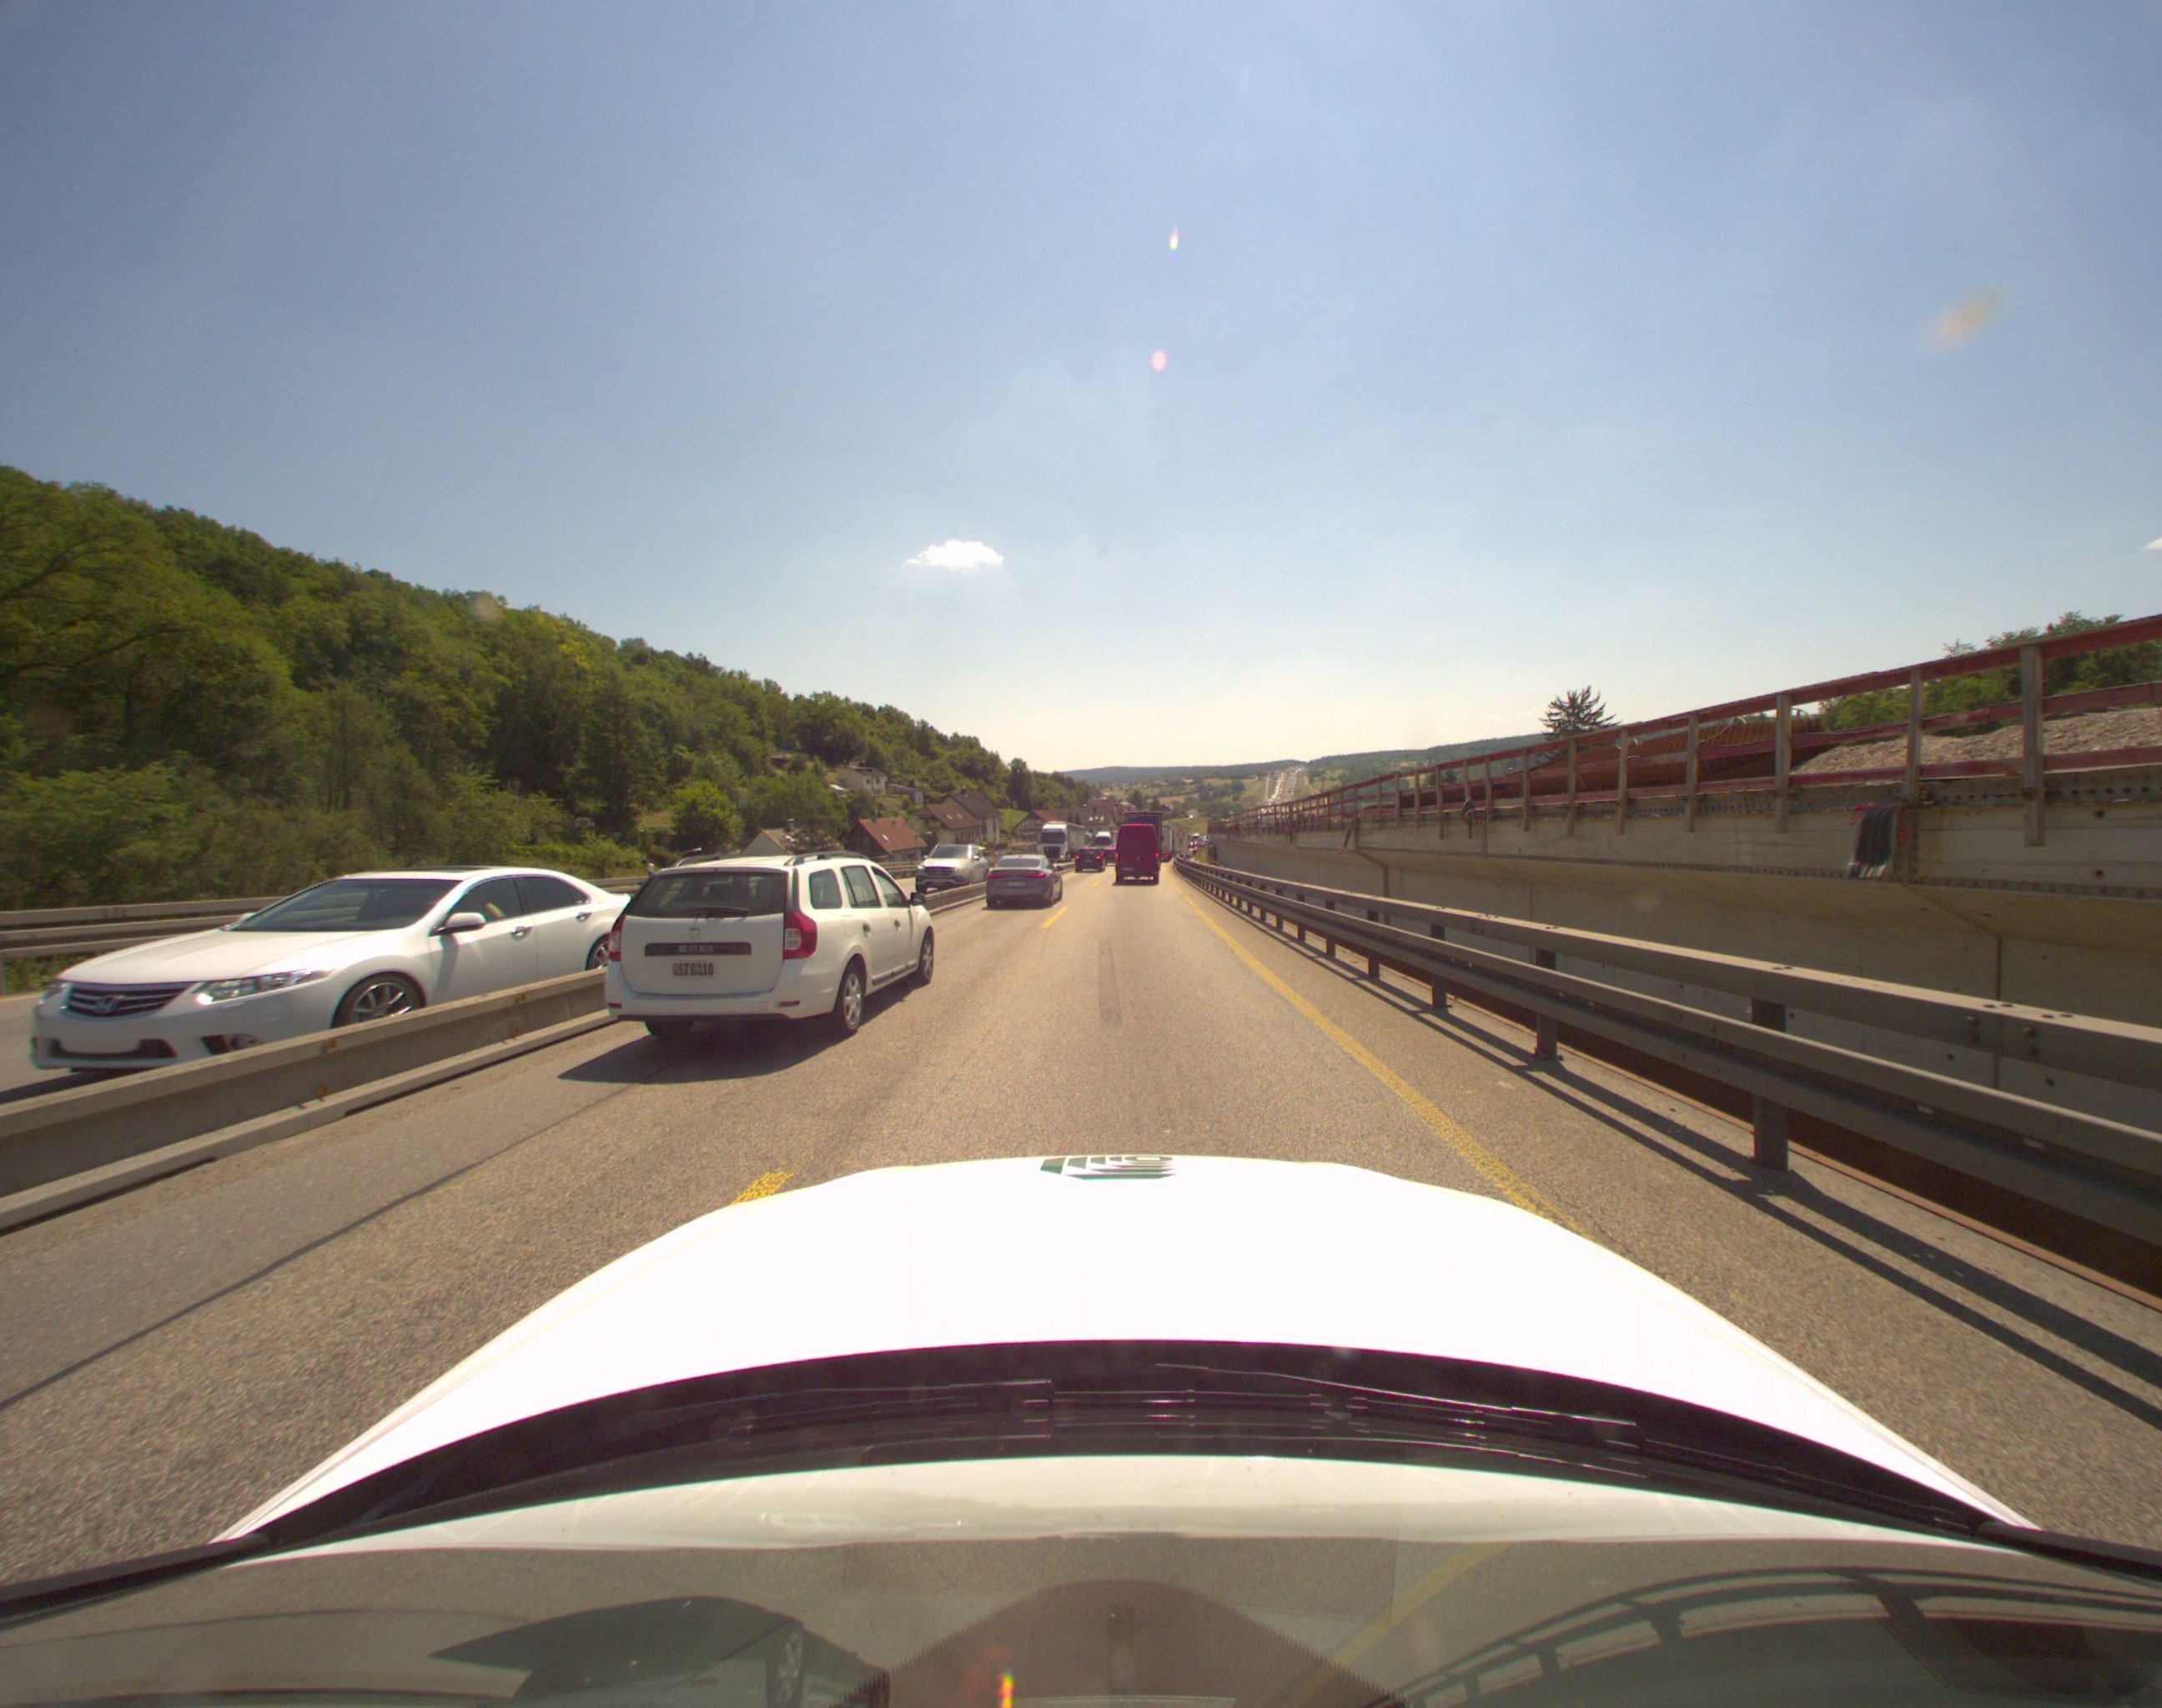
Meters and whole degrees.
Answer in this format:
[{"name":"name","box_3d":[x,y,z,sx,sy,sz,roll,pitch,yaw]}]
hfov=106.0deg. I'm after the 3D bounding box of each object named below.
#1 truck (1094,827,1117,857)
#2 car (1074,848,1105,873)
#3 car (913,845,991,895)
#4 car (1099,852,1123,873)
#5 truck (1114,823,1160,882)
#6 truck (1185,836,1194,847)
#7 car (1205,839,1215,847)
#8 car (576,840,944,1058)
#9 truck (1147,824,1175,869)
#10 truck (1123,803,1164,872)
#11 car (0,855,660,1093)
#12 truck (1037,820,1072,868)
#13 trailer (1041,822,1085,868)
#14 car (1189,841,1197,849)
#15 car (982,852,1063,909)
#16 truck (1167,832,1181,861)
[{"name":"truck","box_3d":[3.788,-1.805,126.111,2.830,4.580,5.801,0,-1,8]},{"name":"car","box_3d":[0.614,0.419,54.492,1.801,1.608,3.724,0,-1,5]},{"name":"car","box_3d":[-4.700,0.548,30.384,1.904,1.705,4.740,0,0,3]},{"name":"car","box_3d":[2.724,0.738,72.895,1.719,1.838,4.009,0,-1,8]},{"name":"truck","box_3d":[2.650,-0.046,37.534,1.983,2.578,4.006,0,-1,6]},{"name":"truck","box_3d":[16.265,-1.829,122.170,1.307,1.542,3.158,0,-1,7]},{"name":"car","box_3d":[35.295,-2.939,222.565,2.116,2.014,4.016,0,-1,15]},{"name":"car","box_3d":[-2.638,0.689,7.896,1.645,1.483,4.269,-2,-1,3]},{"name":"truck","box_3d":[8.980,-0.784,91.881,2.774,4.816,9.693,0,-1,3]},{"name":"truck","box_3d":[4.635,-1.108,61.329,2.774,4.816,9.693,0,-1,3]},{"name":"car","box_3d":[-6.060,0.767,7.448,1.904,1.486,4.481,0,0,3]},{"name":"truck","box_3d":[-2.694,-0.976,84.286,3.045,4.821,4.653,0,-1,6]},{"name":"trailer","box_3d":[-1.832,-0.886,91.965,3.048,4.815,14.027,0,-1,7]},{"name":"car","box_3d":[28.950,-2.358,210.782,1.791,2.013,4.014,1,0,13]},{"name":"car","box_3d":[-1.573,0.683,23.149,1.787,1.485,4.053,-1,0,3]},{"name":"truck","box_3d":[14.075,-1.119,122.790,1.983,4.381,4.008,0,-1,7]}]
